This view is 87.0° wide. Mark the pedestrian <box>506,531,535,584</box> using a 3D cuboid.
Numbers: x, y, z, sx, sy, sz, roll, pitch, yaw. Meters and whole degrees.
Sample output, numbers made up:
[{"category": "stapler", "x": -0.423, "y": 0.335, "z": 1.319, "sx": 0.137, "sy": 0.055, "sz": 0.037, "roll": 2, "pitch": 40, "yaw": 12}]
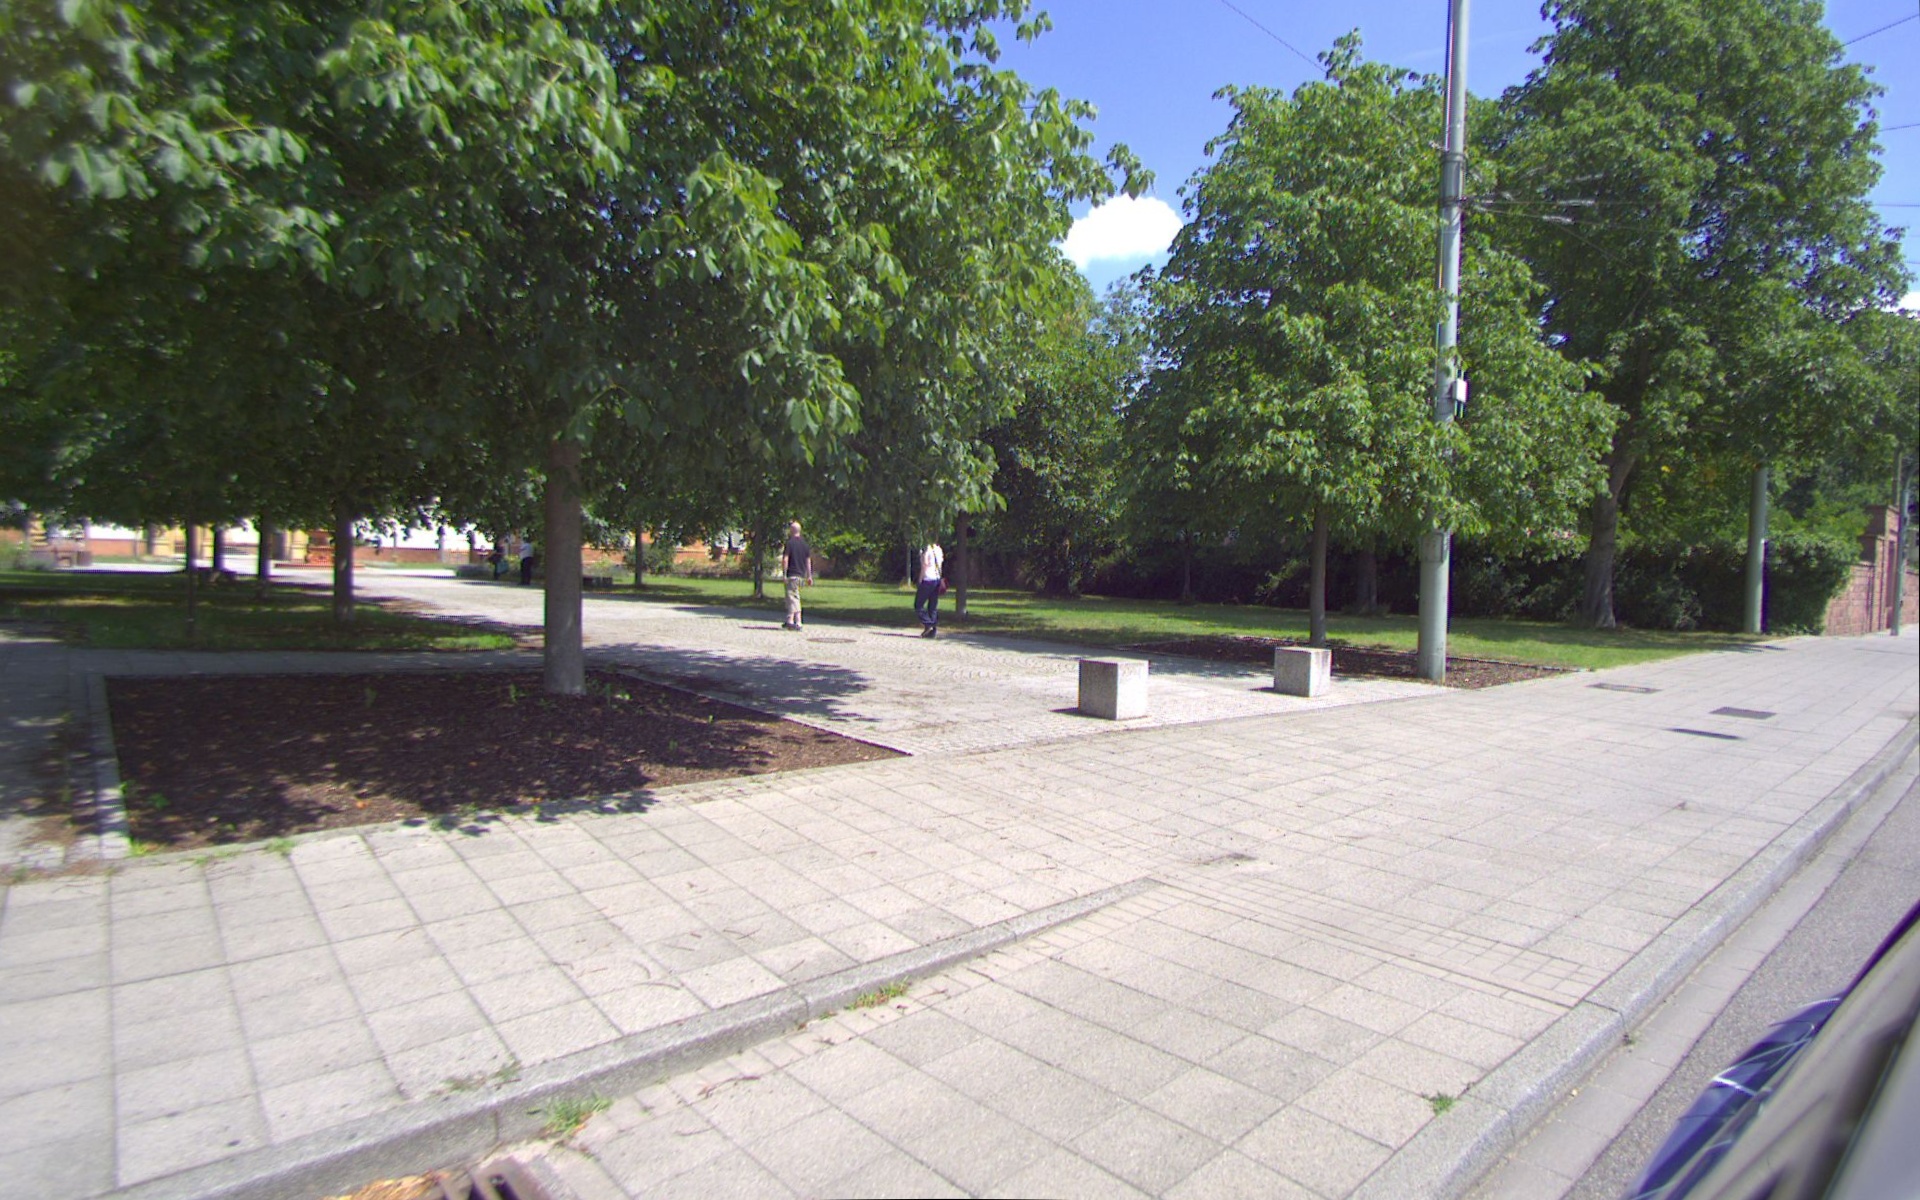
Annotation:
[{"category": "pedestrian", "x": -15.502, "y": -1.501, "z": 35.701, "sx": 0.794, "sy": 1.820, "sz": 0.678, "roll": 0, "pitch": 2, "yaw": -38}]

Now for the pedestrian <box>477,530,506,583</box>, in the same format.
[{"category": "pedestrian", "x": -16.538, "y": -1.546, "z": 35.737, "sx": 0.794, "sy": 1.820, "sz": 0.678, "roll": 0, "pitch": 2, "yaw": -38}]

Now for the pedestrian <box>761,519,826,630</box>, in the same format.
[{"category": "pedestrian", "x": -2.791, "y": -0.437, "z": 16.949, "sx": 0.794, "sy": 1.802, "sz": 0.678, "roll": 0, "pitch": 2, "yaw": -38}]

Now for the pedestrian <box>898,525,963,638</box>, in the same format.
[{"category": "pedestrian", "x": -0.492, "y": -0.317, "z": 16.766, "sx": 0.794, "sy": 1.820, "sz": 0.678, "roll": 0, "pitch": 2, "yaw": -38}]
